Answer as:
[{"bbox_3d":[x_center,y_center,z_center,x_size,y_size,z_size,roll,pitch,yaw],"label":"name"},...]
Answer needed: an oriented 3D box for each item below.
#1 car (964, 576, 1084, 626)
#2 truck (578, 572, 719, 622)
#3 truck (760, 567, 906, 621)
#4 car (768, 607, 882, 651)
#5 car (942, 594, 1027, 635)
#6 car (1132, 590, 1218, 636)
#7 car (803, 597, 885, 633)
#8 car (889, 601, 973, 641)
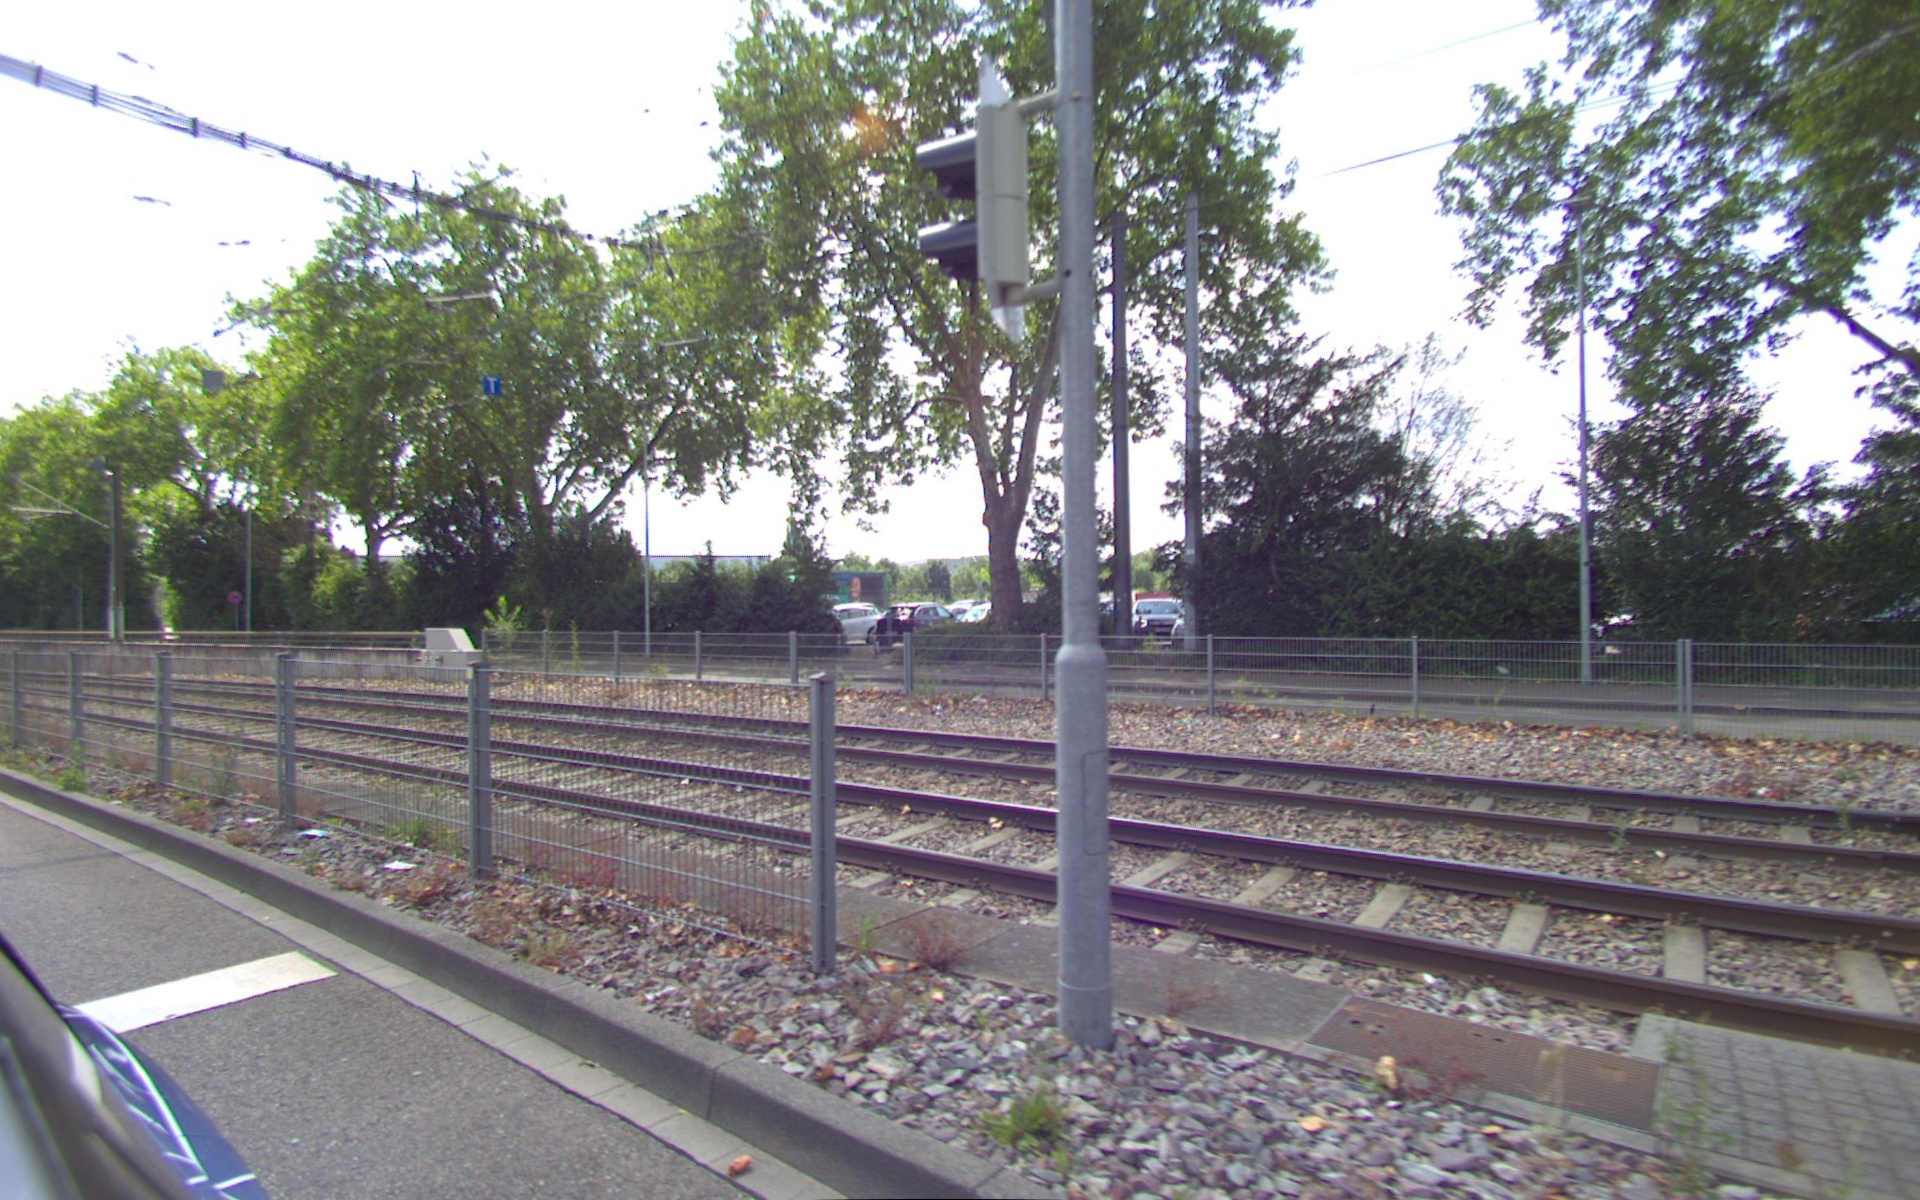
[{"bbox_3d":[2.094,0.029,32.002,1.996,1.453,3.951,-1,0,36],"label":"car"},{"bbox_3d":[-26.959,-0.122,88.591,2.743,4.105,12.669,-1,-2,37],"label":"truck"},{"bbox_3d":[-7.091,-0.223,57.884,2.704,2.814,8.742,-1,-2,40],"label":"truck"},{"bbox_3d":[-4.890,1.017,37.041,1.996,1.453,3.951,-1,0,36],"label":"car"},{"bbox_3d":[1.160,0.653,46.561,1.996,1.785,3.951,-1,0,36],"label":"car"},{"bbox_3d":[8.883,0.509,41.629,1.996,1.785,3.951,-1,0,36],"label":"car"},{"bbox_3d":[-5.899,0.738,51.733,1.996,1.785,3.951,-1,0,36],"label":"car"},{"bbox_3d":[-1.354,0.986,48.458,1.996,1.785,3.951,-1,0,36],"label":"car"}]
